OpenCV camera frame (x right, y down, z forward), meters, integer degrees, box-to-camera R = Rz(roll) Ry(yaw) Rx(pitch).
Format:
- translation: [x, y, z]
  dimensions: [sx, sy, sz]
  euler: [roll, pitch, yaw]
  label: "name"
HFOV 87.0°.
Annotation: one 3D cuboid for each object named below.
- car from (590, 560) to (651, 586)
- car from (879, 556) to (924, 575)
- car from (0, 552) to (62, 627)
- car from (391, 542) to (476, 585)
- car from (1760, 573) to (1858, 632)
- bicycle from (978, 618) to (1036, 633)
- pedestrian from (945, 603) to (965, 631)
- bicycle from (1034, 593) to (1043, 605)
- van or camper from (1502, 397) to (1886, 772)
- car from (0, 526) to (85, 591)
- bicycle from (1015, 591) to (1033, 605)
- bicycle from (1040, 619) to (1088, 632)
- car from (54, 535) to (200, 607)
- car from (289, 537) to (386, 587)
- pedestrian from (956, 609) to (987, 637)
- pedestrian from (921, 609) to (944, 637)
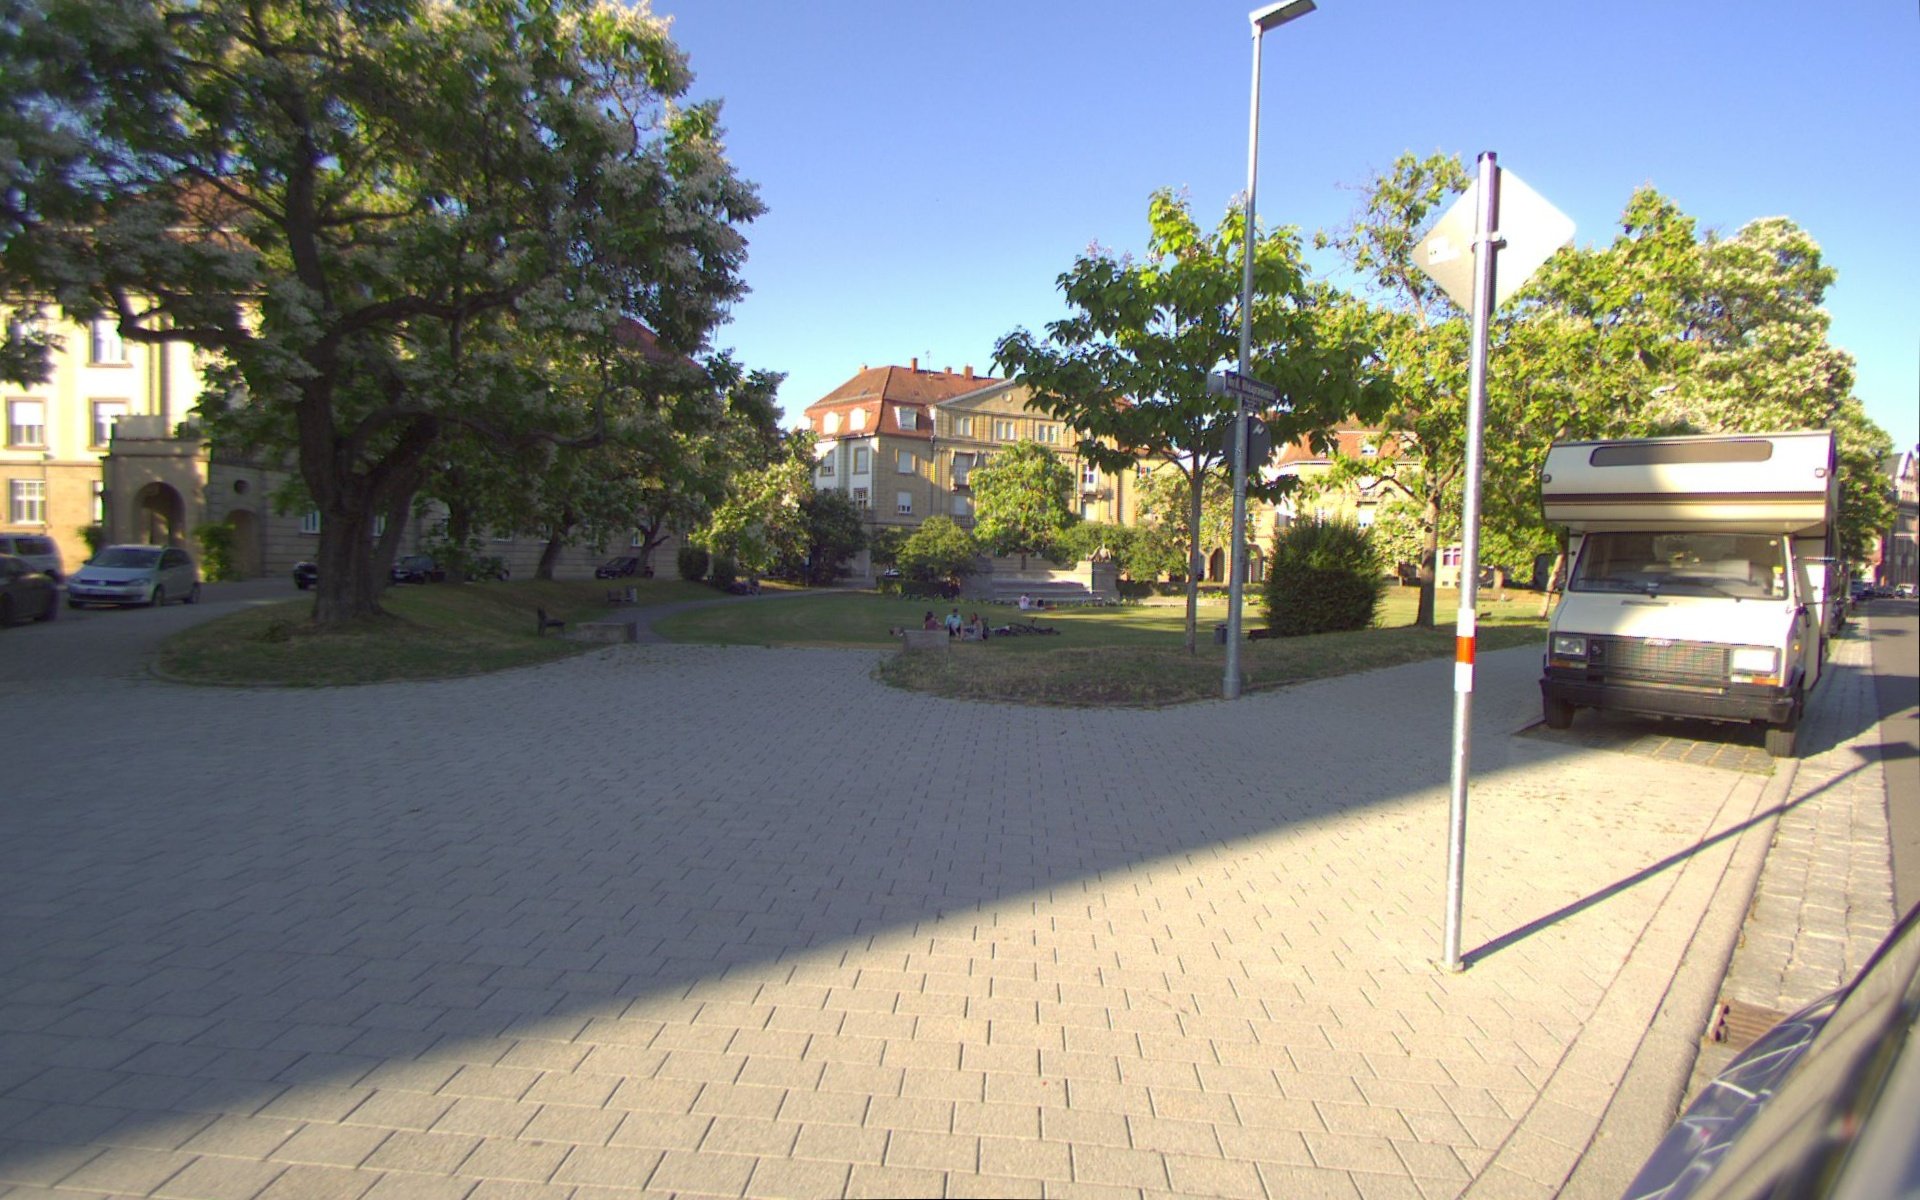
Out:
- translation: [-21.383, -1.671, 63.848]
  dimensions: [1.705, 1.517, 3.680]
  euler: [2, 1, 20]
  label: "car"
- translation: [-5.176, -3.066, 89.087]
  dimensions: [3.639, 1.517, 1.724]
  euler: [1, 1, -41]
  label: "car"
- translation: [-17.997, -0.236, 18.299]
  dimensions: [1.691, 1.313, 3.711]
  euler: [2, 1, -27]
  label: "car"
- translation: [-23.569, -1.614, 45.451]
  dimensions: [1.695, 1.779, 3.700]
  euler: [2, 1, 4]
  label: "car"
- translation: [24.002, 0.029, 28.573]
  dimensions: [1.993, 1.528, 3.940]
  euler: [2, 2, 42]
  label: "car"
- translation: [1.462, 0.786, 31.229]
  dimensions: [0.658, 0.387, 1.901]
  euler: [3, 3, 45]
  label: "bicycle"
- translation: [-0.156, 0.528, 31.083]
  dimensions: [0.488, 0.845, 0.456]
  euler: [0, 1, -14]
  label: "pedestrian"
- translation: [3.932, -0.060, 50.671]
  dimensions: [0.479, 0.590, 0.438]
  euler: [1, 1, 4]
  label: "bicycle"
- translation: [7.851, -0.256, 10.615]
  dimensions: [2.420, 2.815, 5.864]
  euler: [5, 5, 41]
  label: "van or camper"
- translation: [-28.301, -1.224, 30.136]
  dimensions: [1.671, 1.818, 4.055]
  euler: [0, 1, -12]
  label: "car"
- translation: [3.213, -0.095, 50.694]
  dimensions: [0.889, 0.660, 0.438]
  euler: [1, 1, 4]
  label: "bicycle"
- translation: [3.367, 0.819, 32.719]
  dimensions: [0.658, 0.323, 1.676]
  euler: [3, 3, 45]
  label: "bicycle"
- translation: [-20.887, -0.711, 25.562]
  dimensions: [1.690, 1.648, 3.713]
  euler: [2, 1, -20]
  label: "car"
- translation: [-23.881, -1.418, 38.973]
  dimensions: [1.691, 1.779, 3.709]
  euler: [2, 1, -6]
  label: "car"
- translation: [0.339, 0.661, 28.990]
  dimensions: [0.794, 0.774, 0.499]
  euler: [2, 1, -8]
  label: "pedestrian"
- translation: [-0.779, 0.654, 28.882]
  dimensions: [0.496, 0.756, 0.448]
  euler: [1, 1, 39]
  label: "pedestrian"
